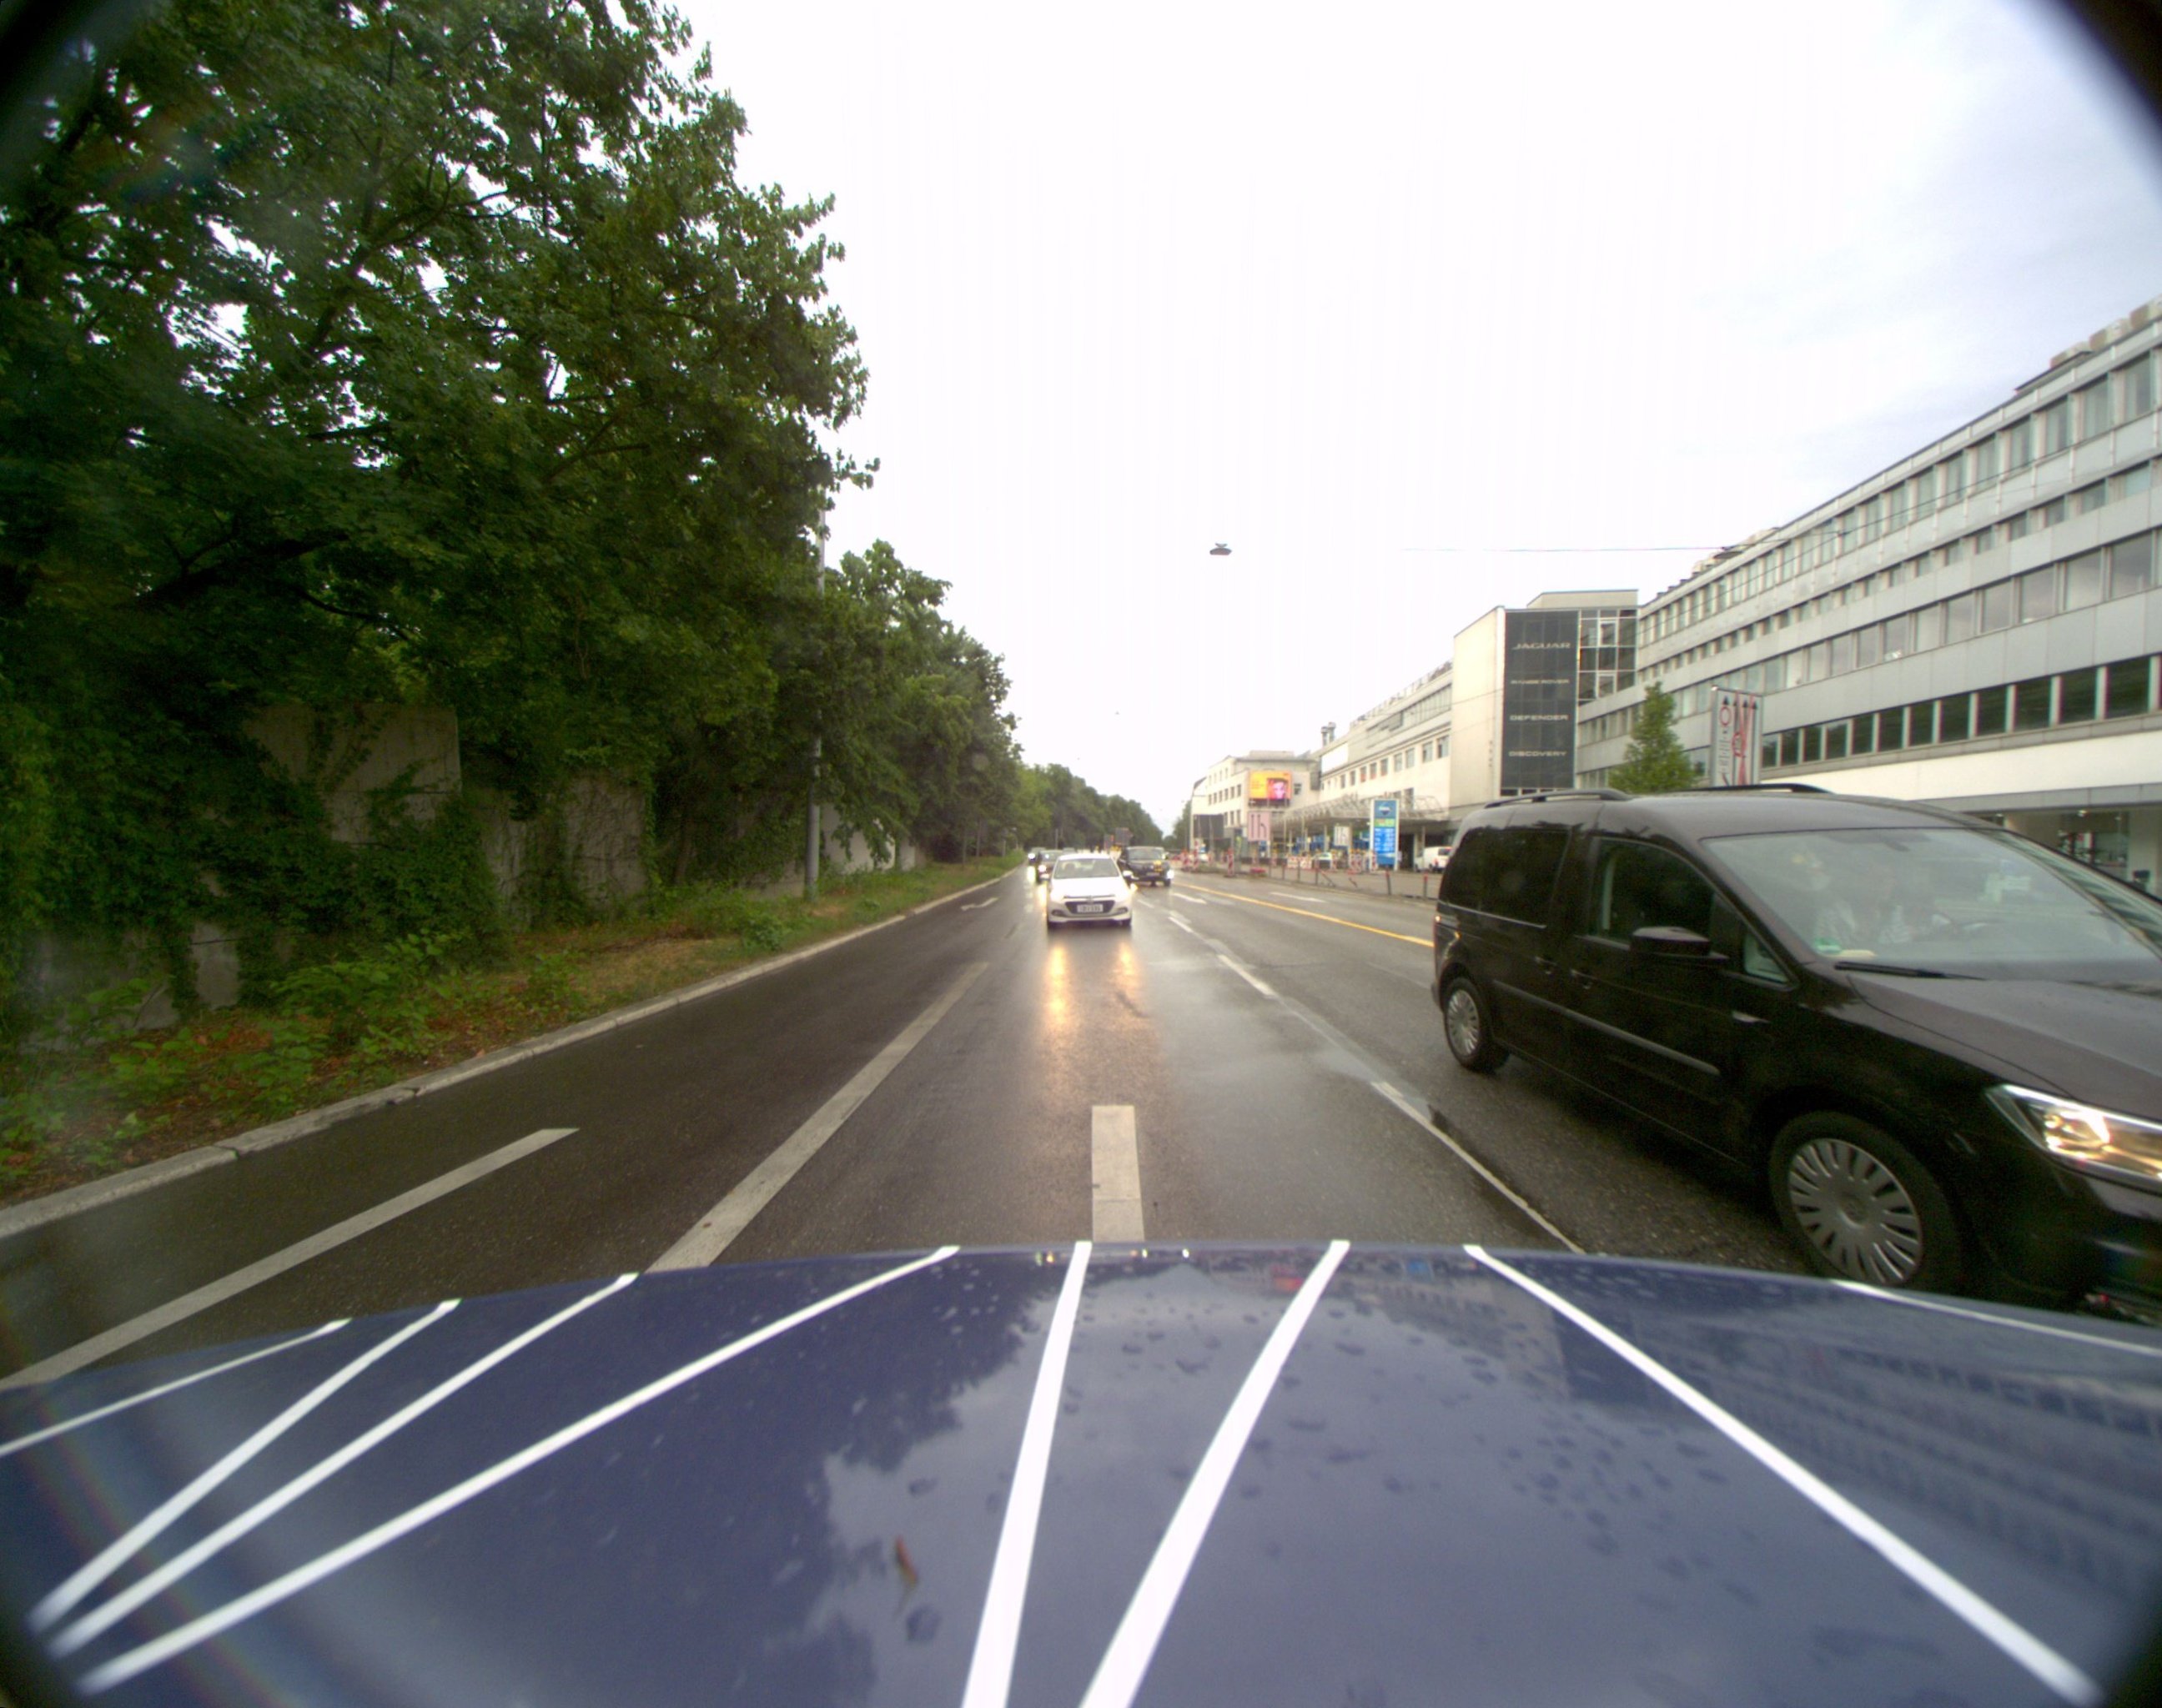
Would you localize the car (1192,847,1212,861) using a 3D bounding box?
[{"bbox_3d":[14.564,-0.016,91.659,1.805,1.523,3.764,3,0,0],"label":"car"}]

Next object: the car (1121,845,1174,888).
[{"bbox_3d":[2.715,0.452,31.733,1.814,1.590,4.333,-2,1,1],"label":"car"}]

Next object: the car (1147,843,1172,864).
[{"bbox_3d":[6.353,-0.038,61.778,1.771,1.608,3.949,-2,1,2],"label":"car"}]

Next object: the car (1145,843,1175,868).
[{"bbox_3d":[5.667,0.087,54.955,1.771,1.628,4.333,-2,1,2],"label":"car"}]

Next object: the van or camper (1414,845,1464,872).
[{"bbox_3d":[26.804,0.287,56.984,1.939,1.913,4.686,0,1,6],"label":"van or camper"}]

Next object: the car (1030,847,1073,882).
[{"bbox_3d":[-1.420,0.483,38.516,1.814,1.590,4.333,-2,1,2],"label":"car"}]

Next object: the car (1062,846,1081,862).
[{"bbox_3d":[-0.963,-0.049,81.309,1.814,1.590,4.333,-2,1,2],"label":"car"}]

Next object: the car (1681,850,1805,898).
[{"bbox_3d":[28.124,0.779,32.469,1.922,1.805,4.166,-2,1,6],"label":"car"}]

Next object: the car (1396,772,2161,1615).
[{"bbox_3d":[3.292,0.671,3.506,1.905,1.804,4.430,-2,1,2],"label":"car"}]

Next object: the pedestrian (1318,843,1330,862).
[{"bbox_3d":[23.565,-0.157,73.757,0.895,1.804,0.941,-2,1,5],"label":"pedestrian"}]

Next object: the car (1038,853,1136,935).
[{"bbox_3d":[0.172,0.760,16.600,1.814,1.444,4.333,-2,1,2],"label":"car"}]

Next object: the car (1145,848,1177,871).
[{"bbox_3d":[5.202,0.325,50.021,1.771,1.407,4.333,-2,1,2],"label":"car"}]

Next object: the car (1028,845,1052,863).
[{"bbox_3d":[-3.734,-0.007,70.271,1.814,1.590,4.333,-2,1,2],"label":"car"}]
